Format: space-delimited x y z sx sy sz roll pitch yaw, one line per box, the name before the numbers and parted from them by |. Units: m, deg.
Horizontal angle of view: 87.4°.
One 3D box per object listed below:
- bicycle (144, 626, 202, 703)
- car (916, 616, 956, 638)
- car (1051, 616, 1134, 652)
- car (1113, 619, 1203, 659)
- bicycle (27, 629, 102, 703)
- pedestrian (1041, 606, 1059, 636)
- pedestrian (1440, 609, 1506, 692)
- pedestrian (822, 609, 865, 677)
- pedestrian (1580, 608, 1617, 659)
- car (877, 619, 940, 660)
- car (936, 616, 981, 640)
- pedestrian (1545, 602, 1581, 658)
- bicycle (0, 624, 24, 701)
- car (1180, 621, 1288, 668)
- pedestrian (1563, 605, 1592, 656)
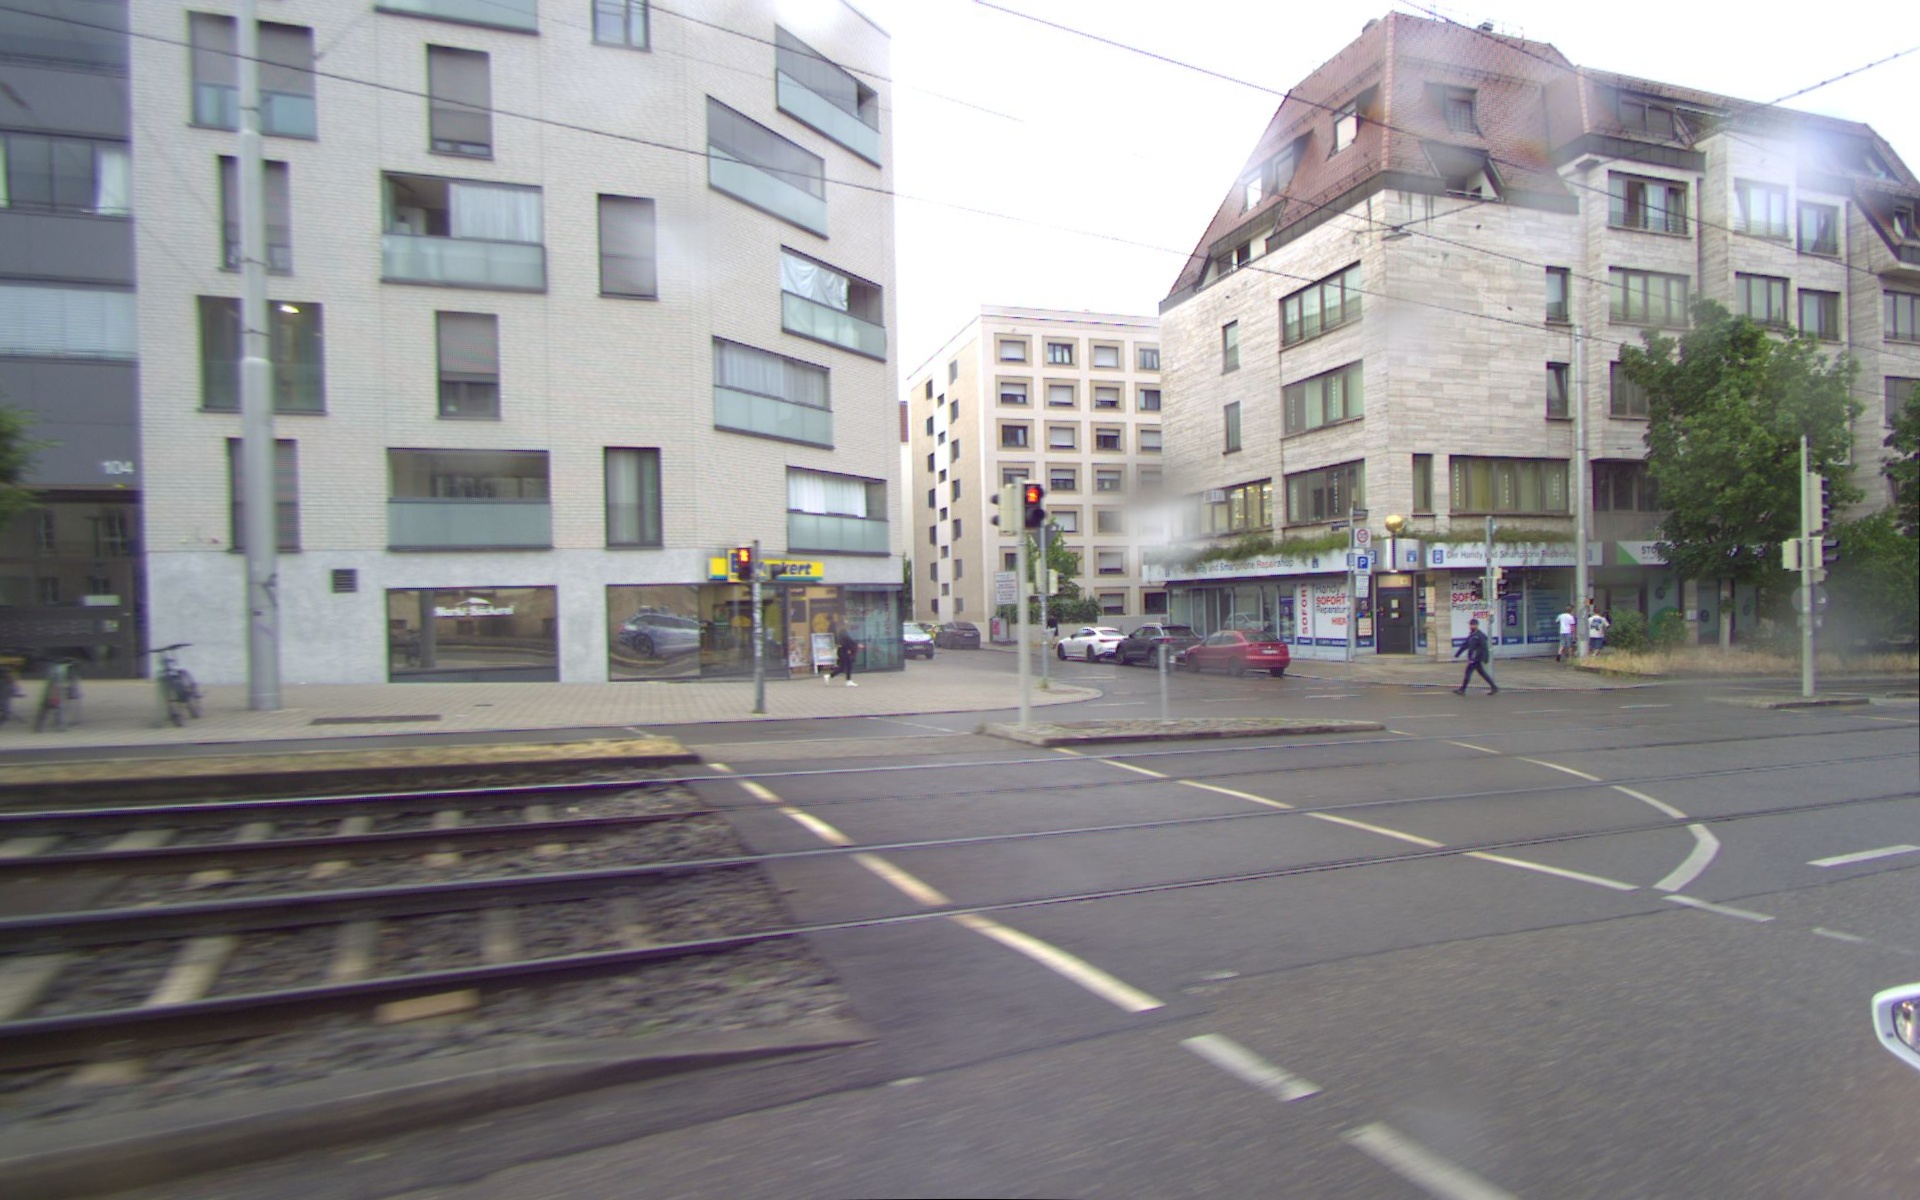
bicycle | -11.044 0.877 14.125 0.436 0.993 1.773 2 -2 -32
car | -1.573 1.695 64.535 1.569 1.335 3.690 2 -1 -19
car | 5.345 1.369 41.077 1.569 1.335 4.483 2 -1 -19
car | 7.086 1.378 36.341 1.569 1.335 3.690 2 -1 -19
bicycle | -12.140 0.867 13.654 0.383 0.888 1.775 2 0 -30
pedestrian | 4.803 1.124 53.511 0.640 1.569 0.680 2 1 -20
pedestrian | 11.900 1.162 23.309 0.947 1.854 0.927 2 1 -26
pedestrian | -2.770 1.009 23.881 0.637 1.590 0.775 1 0 34
pedestrian | 19.937 1.041 31.361 0.673 1.569 0.646 2 1 -20
car | -2.385 1.760 45.576 1.967 1.617 3.986 2 1 -16
car | -0.139 1.631 59.430 1.569 1.335 3.690 2 -1 -19
pedestrian | 19.239 0.953 32.050 0.673 1.747 0.646 2 1 -20
bicycle | -12.971 0.819 13.576 0.385 0.930 1.765 1 0 -45
car | 8.562 1.363 31.685 1.568 1.335 3.693 2 -1 -16
pedestrian | 19.887 0.971 32.363 0.577 1.619 0.503 2 1 -20
